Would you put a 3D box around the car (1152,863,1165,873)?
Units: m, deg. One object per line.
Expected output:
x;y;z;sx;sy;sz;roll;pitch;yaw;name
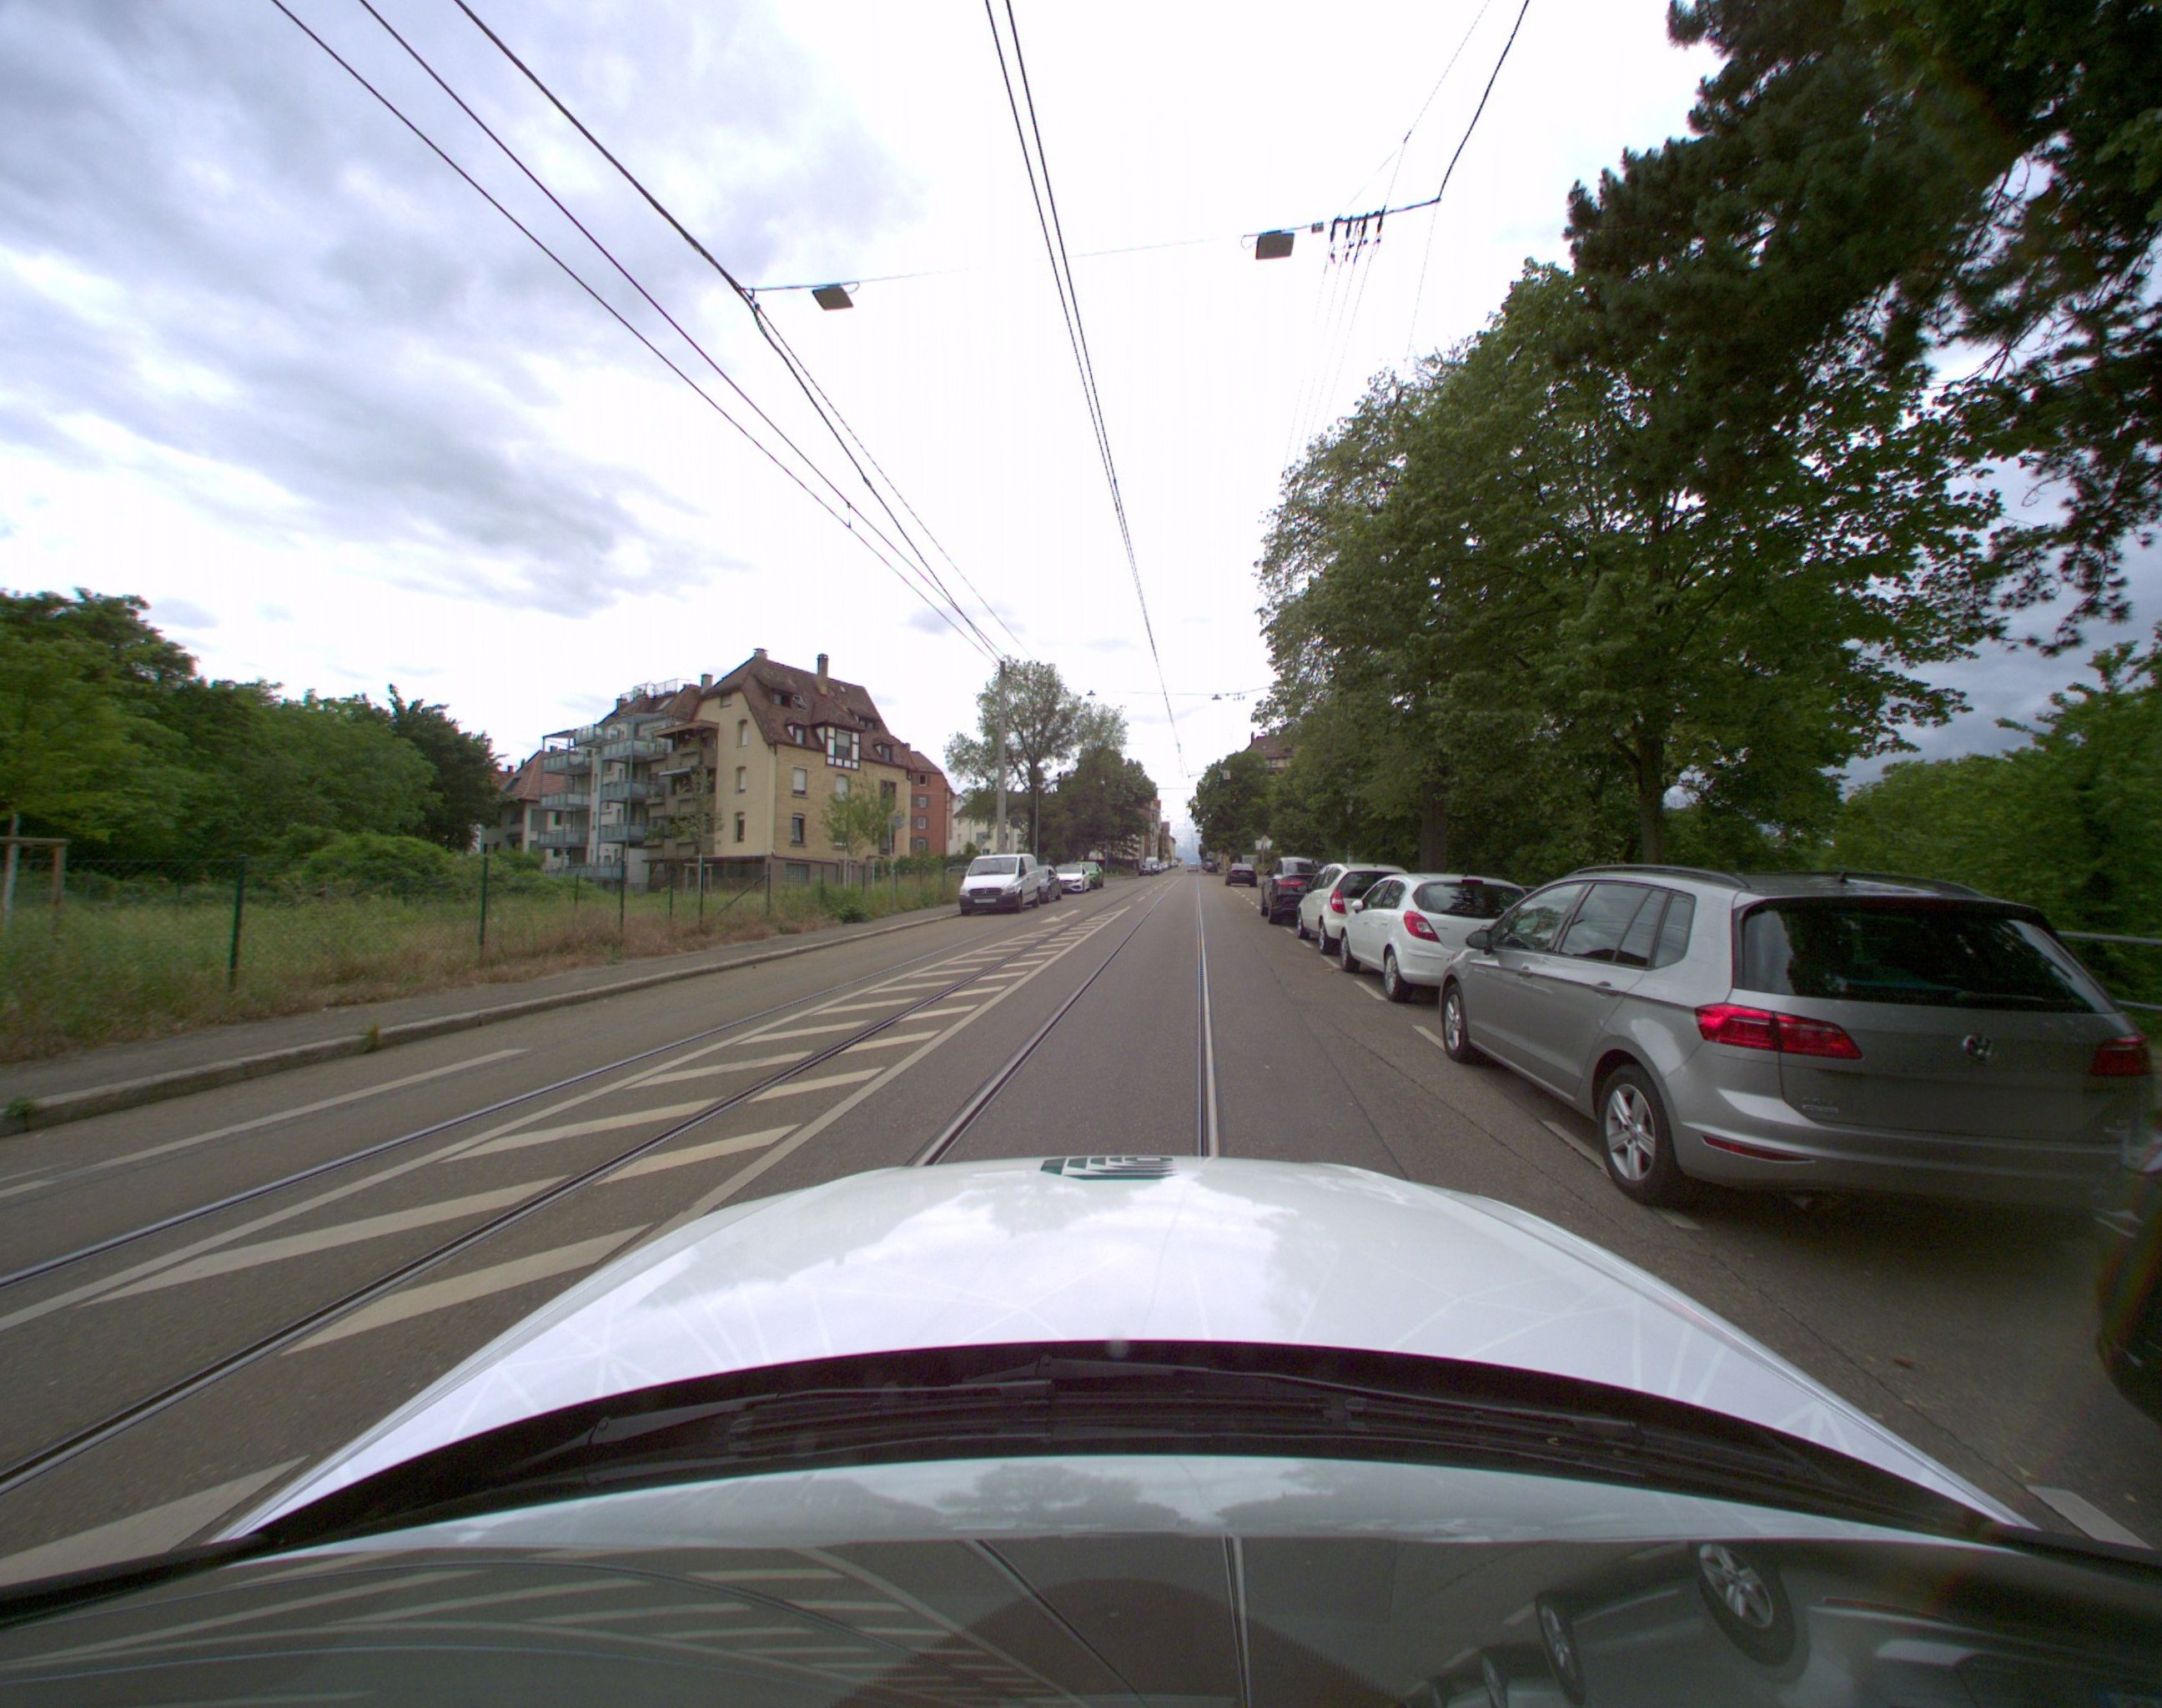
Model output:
12.518;2.325;131.135;1.983;1.600;4.319;0;-1;6;car

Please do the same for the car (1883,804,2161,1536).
3.078;0.694;0.140;1.893;1.615;4.612;1;-1;9;car

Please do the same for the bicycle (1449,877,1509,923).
8.896;1.000;18.293;0.426;0.976;1.793;1;-1;-2;bicycle

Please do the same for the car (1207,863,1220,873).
21.855;2.362;134.163;1.982;1.530;4.323;0;-1;9;car

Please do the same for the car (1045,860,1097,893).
-0.433;1.115;40.796;1.874;1.526;4.673;-2;-1;8;car

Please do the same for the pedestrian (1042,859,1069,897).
-1.118;1.049;35.985;0.811;1.629;0.906;2;-2;-35;pedestrian

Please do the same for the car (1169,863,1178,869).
23.162;2.984;203.572;1.982;1.601;4.008;0;-1;8;car

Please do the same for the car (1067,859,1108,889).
0.412;1.103;46.257;1.713;1.580;4.190;-1;-1;8;car

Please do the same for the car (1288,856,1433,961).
5.157;0.912;15.562;1.717;1.631;4.095;3;0;7;car

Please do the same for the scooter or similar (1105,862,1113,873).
3.526;1.668;102.564;0.687;1.339;1.643;0;-2;9;scooter or similar

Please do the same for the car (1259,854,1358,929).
5.840;0.899;21.489;1.866;1.678;5.074;2;0;9;car

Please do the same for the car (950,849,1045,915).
-2.624;0.903;26.870;2.025;1.881;4.894;-3;-2;7;car

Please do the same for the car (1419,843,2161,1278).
3.656;0.779;5.202;1.724;1.576;4.374;0;-1;8;car

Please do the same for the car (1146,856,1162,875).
10.894;1.725;120.934;2.219;2.764;5.808;0;-1;6;car

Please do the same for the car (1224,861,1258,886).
10.125;1.238;51.697;1.818;1.430;4.857;2;-1;8;car

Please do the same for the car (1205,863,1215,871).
26.405;2.694;167.081;1.982;1.651;4.009;-1;-2;8;car

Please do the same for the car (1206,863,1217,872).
24.750;2.556;154.476;1.982;1.717;4.009;-1;-2;8;car

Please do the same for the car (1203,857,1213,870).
26.859;2.063;172.604;1.982;2.574;4.715;-1;-2;8;car

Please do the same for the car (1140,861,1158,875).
8.908;1.859;106.540;1.981;1.808;4.010;0;-1;9;car

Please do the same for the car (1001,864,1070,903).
-1.747;1.137;32.769;1.885;1.433;4.521;-2;-1;8;car

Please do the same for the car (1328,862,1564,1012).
4.496;0.897;10.706;1.621;1.516;4.071;2;0;6;car

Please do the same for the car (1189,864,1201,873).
19.281;2.401;137.714;1.982;1.499;4.321;0;-1;8;car

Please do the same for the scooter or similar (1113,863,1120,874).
4.440;1.849;102.485;0.687;1.339;1.643;0;-2;9;scooter or similar
